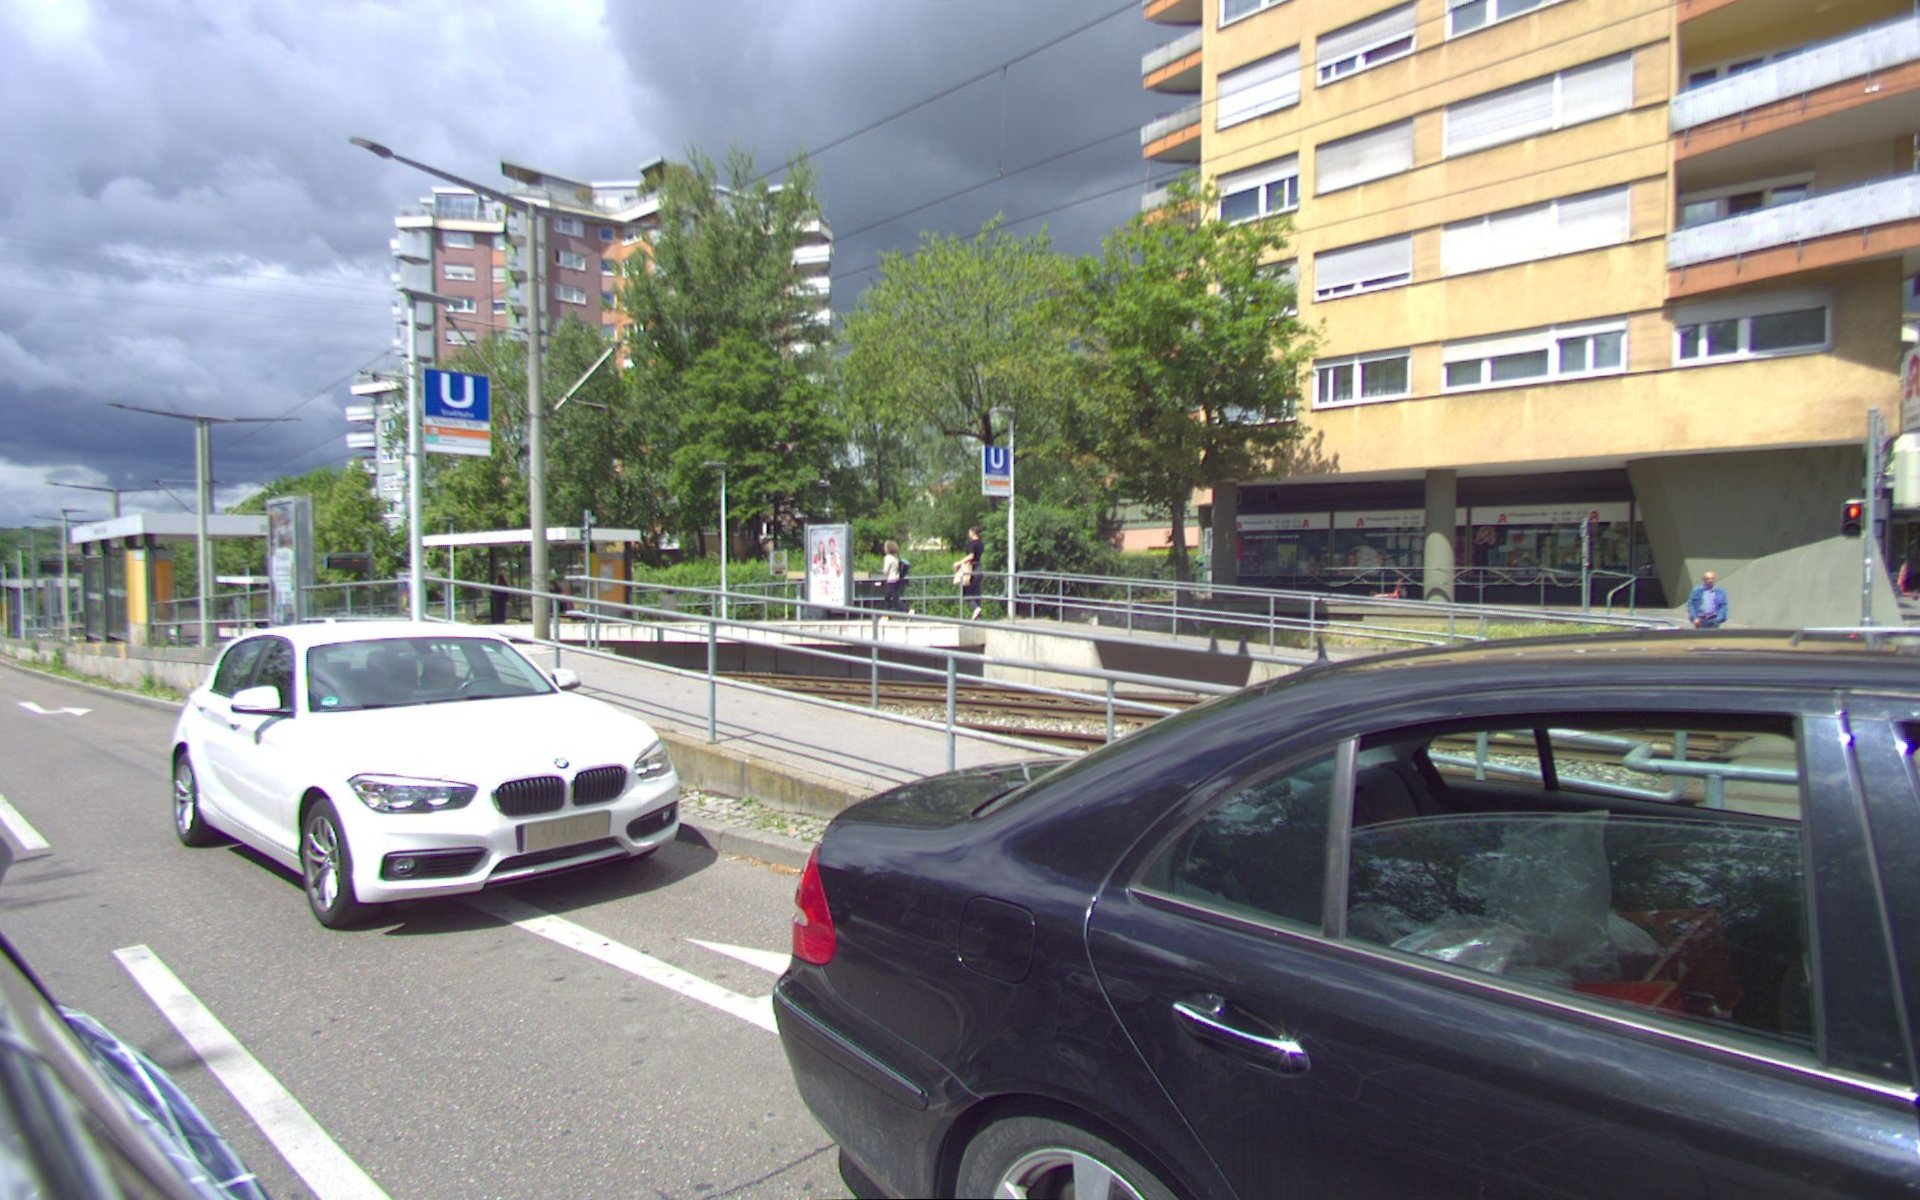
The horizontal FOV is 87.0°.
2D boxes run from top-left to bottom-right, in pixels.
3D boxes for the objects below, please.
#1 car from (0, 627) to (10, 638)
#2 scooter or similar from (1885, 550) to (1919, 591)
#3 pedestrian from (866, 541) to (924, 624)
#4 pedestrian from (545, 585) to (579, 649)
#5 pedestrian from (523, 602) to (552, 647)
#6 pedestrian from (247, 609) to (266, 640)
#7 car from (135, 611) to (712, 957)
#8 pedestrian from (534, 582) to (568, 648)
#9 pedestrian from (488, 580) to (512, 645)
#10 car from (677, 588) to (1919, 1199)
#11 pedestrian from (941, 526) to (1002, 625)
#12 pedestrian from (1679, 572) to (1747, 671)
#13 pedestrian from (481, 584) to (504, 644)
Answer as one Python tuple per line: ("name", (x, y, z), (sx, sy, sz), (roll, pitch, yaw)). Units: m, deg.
("car", (-119.111, 4.034, 125.588), (1.780, 1.224, 4.025), (-1, 0, -43))
("scooter or similar", (26.372, -0.817, 28.310), (0.544, 1.102, 1.731), (-1, 0, 36))
("pedestrian", (-1.293, -0.337, 20.196), (0.747, 1.618, 0.854), (-1, 0, 40))
("pedestrian", (-12.111, 0.510, 30.823), (0.572, 1.946, 0.761), (-1, 0, 39))
("pedestrian", (-13.521, 0.778, 32.371), (0.658, 1.425, 0.637), (-1, 0, 41))
("pedestrian", (-39.694, 1.352, 57.112), (0.763, 1.718, 0.767), (-1, 0, -41))
("car", (-3.580, 0.875, 6.387), (4.272, 1.462, 1.771), (-3, -3, 41))
("pedestrian", (-12.754, 0.466, 31.562), (0.584, 2.029, 0.770), (-1, 0, 41))
("pedestrian", (-15.453, 0.418, 33.985), (0.608, 2.157, 0.525), (-1, 0, 44))
("car", (1.725, 0.684, 1.508), (4.674, 1.409, 1.950), (-1, 0, 42))
("pedestrian", (0.219, -0.441, 18.873), (0.747, 1.787, 0.854), (-1, 0, 40))
("pedestrian", (12.960, 0.357, 17.429), (0.909, 1.609, 0.712), (-1, 5, 37))
("pedestrian", (-16.002, 0.468, 34.639), (0.557, 2.029, 0.510), (-1, 0, 41))
